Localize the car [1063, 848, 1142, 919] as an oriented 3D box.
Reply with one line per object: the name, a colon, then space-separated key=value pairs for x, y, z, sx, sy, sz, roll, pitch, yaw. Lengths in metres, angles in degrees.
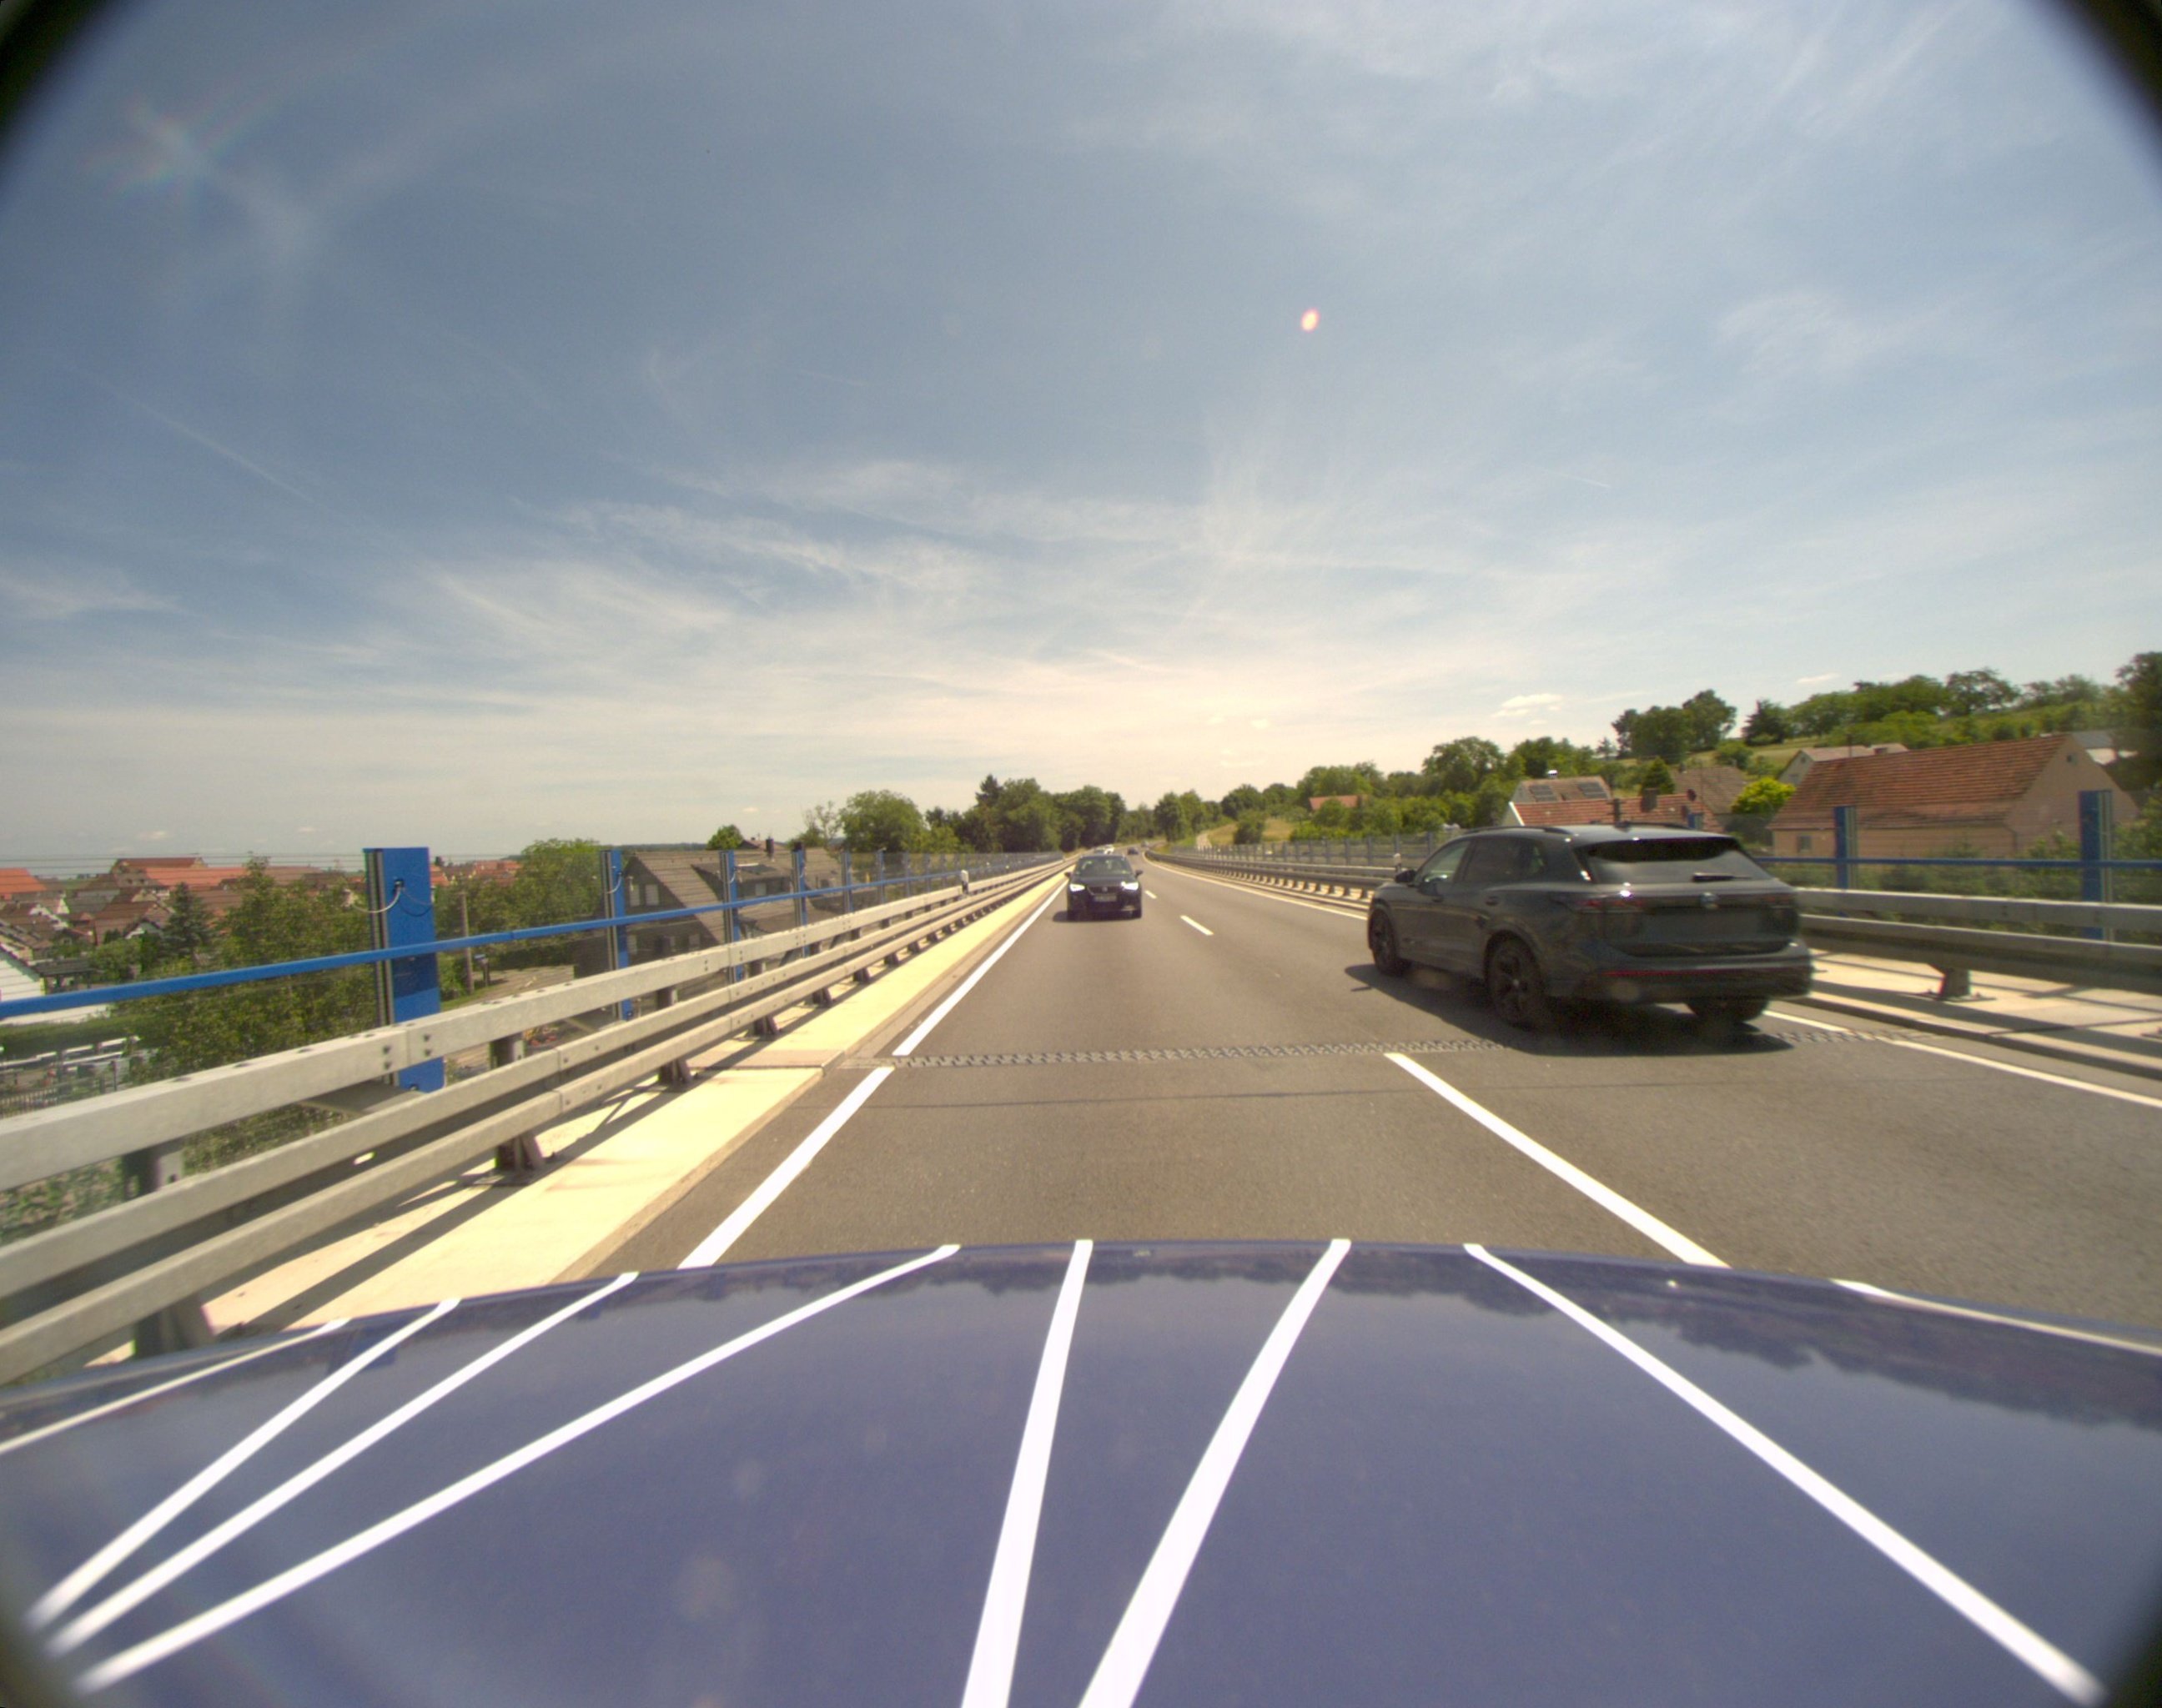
car: x=0.511 y=0.646 z=18.803 sx=1.737 sy=1.468 sz=3.999 roll=-1 pitch=2 yaw=1

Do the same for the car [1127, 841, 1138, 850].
car: x=8.858 y=-1.547 z=130.910 sx=1.785 sy=1.427 sz=4.834 roll=-1 pitch=1 yaw=3

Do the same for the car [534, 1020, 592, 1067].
car: x=-27.247 y=9.927 z=40.094 sx=1.729 sy=1.359 sz=3.993 roll=-10 pitch=2 yaw=-25

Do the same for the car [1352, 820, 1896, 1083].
car: x=4.280 y=0.612 z=7.071 sx=1.870 sy=1.602 sz=4.372 roll=-3 pitch=1 yaw=0

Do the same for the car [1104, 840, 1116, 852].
car: x=5.078 y=-1.457 z=134.229 sx=1.998 sy=2.003 sz=3.999 roll=-2 pitch=2 yaw=2

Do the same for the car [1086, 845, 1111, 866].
car: x=1.560 y=0.119 z=66.060 sx=1.883 sy=1.699 sz=4.000 roll=-1 pitch=2 yaw=4

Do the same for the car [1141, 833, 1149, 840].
car: x=15.837 y=-4.336 z=188.917 sx=1.711 sy=1.497 sz=4.118 roll=-1 pitch=2 yaw=2
